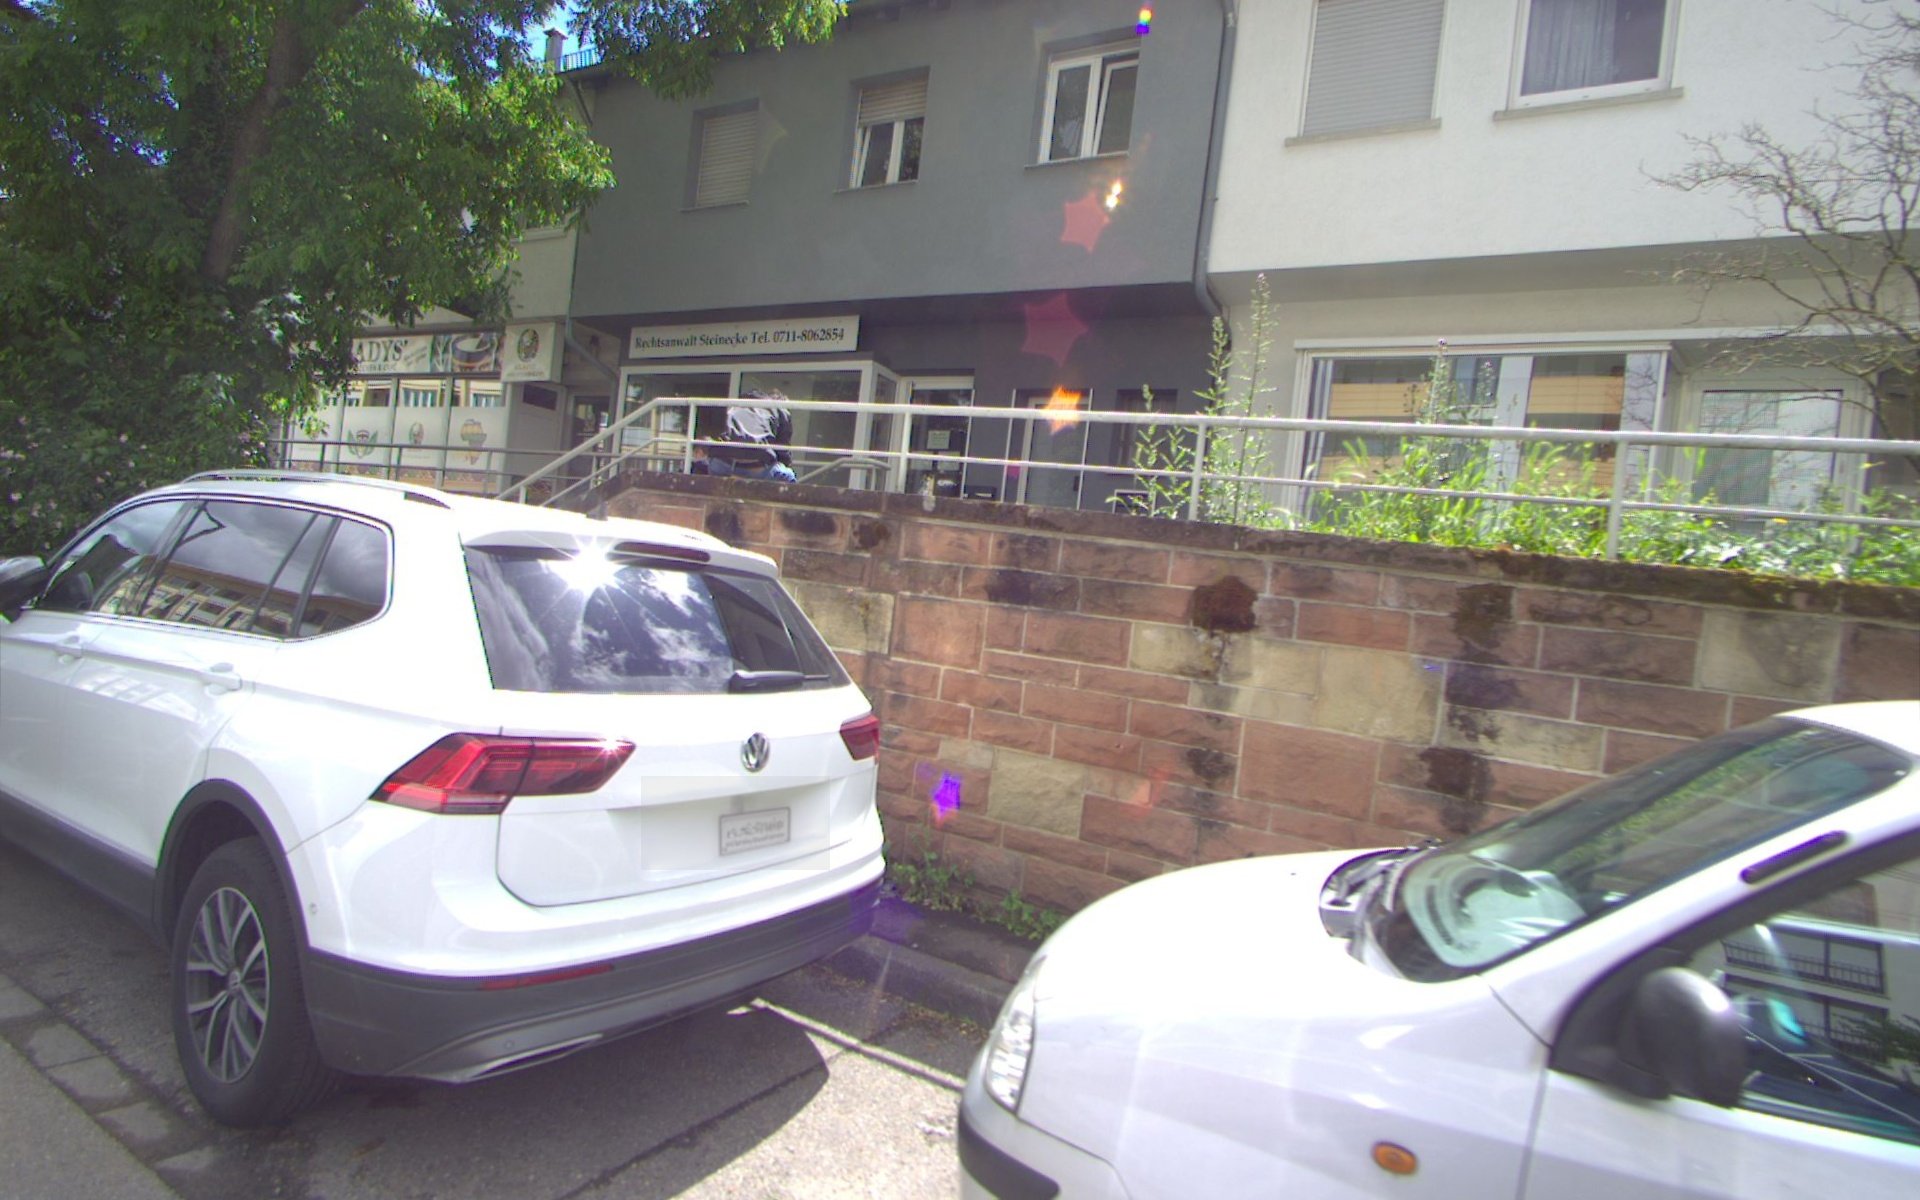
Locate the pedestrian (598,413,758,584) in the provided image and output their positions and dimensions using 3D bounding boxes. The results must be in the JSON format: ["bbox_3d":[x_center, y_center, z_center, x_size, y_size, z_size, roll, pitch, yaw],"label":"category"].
[{"bbox_3d":[-1.762,-0.626,6.327,0.605,0.957,0.643,8,2,30],"label":"pedestrian"}]

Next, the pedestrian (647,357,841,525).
[{"bbox_3d":[-1.275,-0.929,6.002,0.693,0.799,0.796,8,0,29],"label":"pedestrian"}]

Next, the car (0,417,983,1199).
[{"bbox_3d":[-2.377,0.356,3.896,4.501,1.703,1.825,7,0,33],"label":"car"}]

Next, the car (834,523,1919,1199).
[{"bbox_3d":[1.679,0.894,1.762,3.415,1.571,1.585,8,-1,29],"label":"car"}]
